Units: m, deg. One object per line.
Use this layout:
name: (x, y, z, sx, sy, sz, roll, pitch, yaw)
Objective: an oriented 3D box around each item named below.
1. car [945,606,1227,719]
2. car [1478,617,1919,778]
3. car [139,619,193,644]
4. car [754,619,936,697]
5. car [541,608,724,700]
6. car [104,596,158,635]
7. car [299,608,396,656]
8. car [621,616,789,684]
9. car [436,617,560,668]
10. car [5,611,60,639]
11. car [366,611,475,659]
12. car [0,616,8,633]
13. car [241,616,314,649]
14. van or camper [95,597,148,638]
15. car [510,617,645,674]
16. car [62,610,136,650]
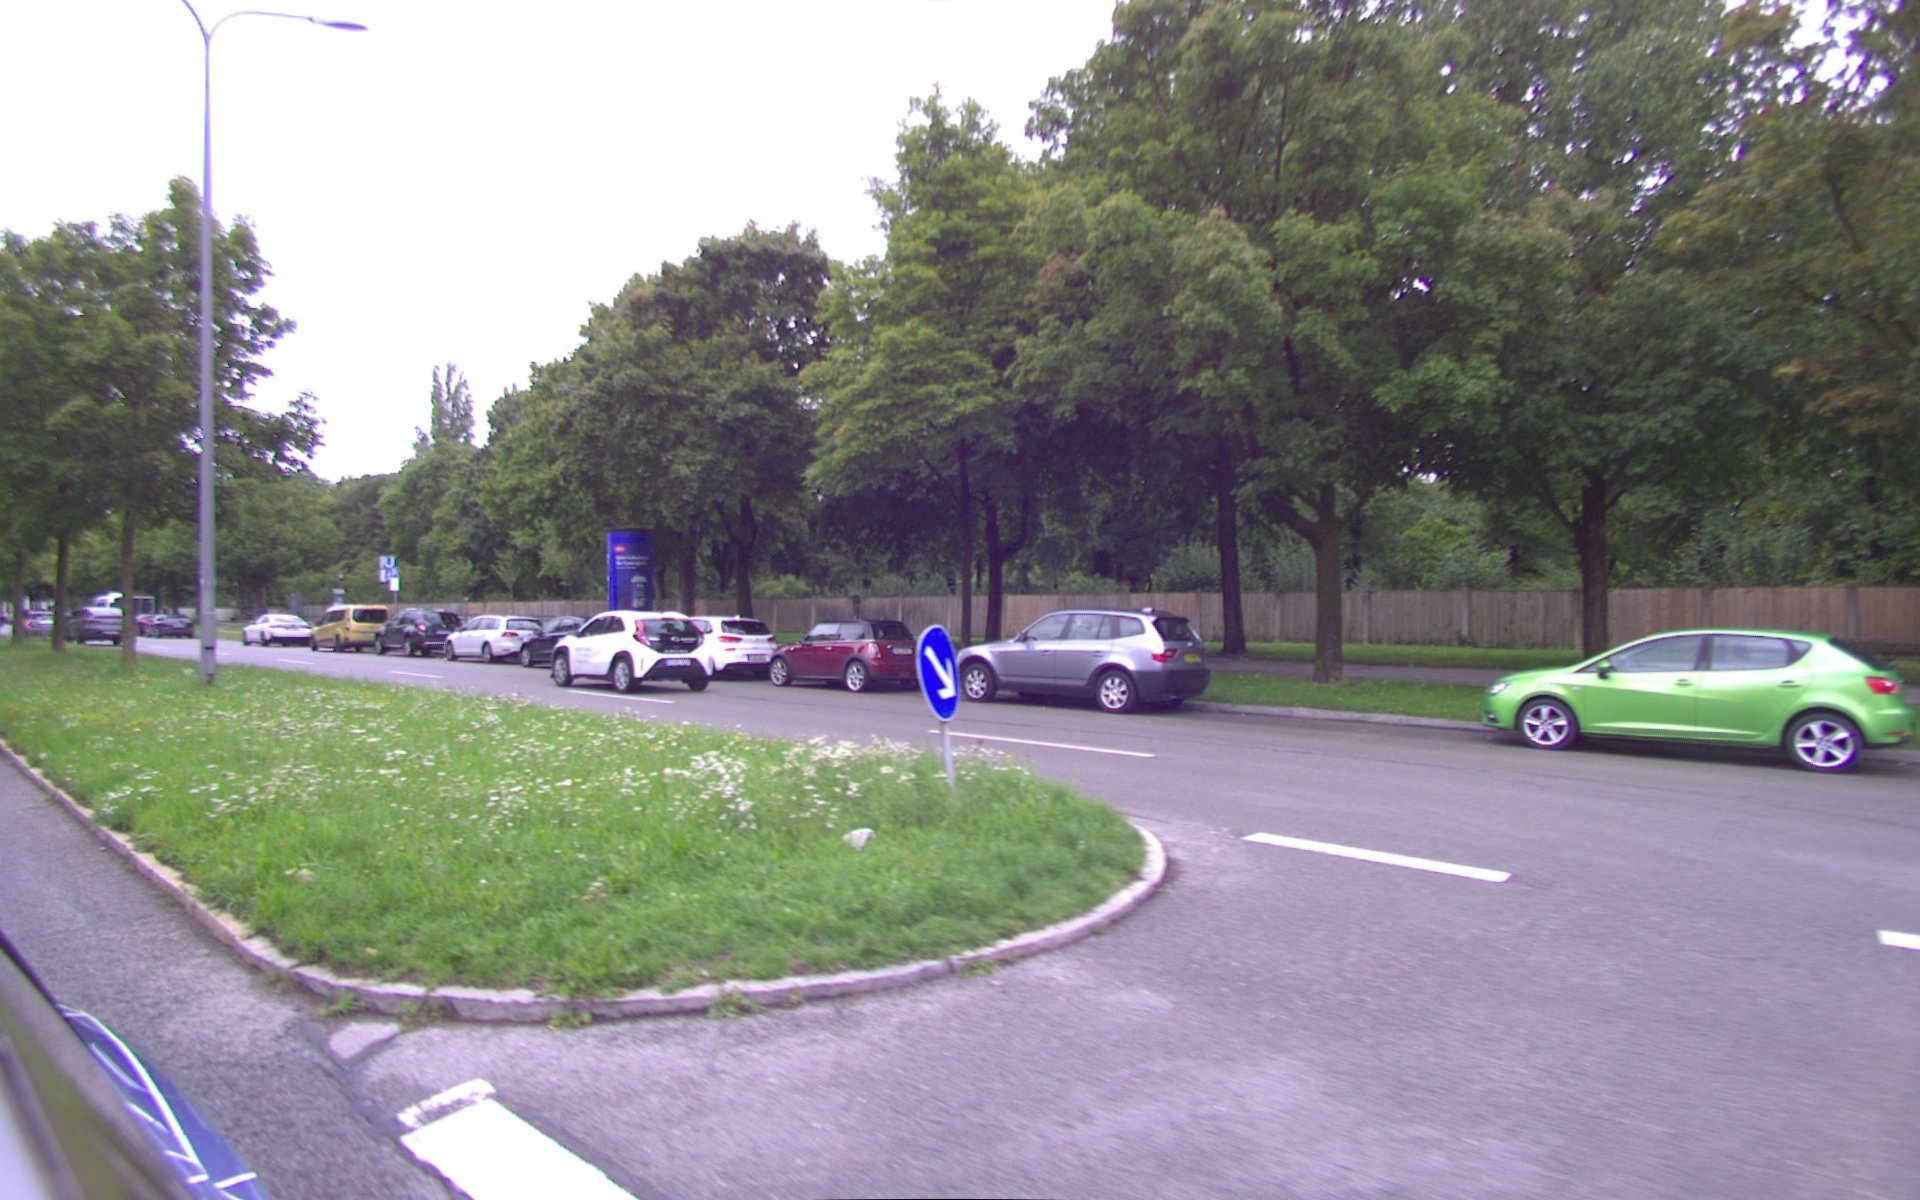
car: (2.001, 0.951, 16.898, 4.454, 1.643, 1.802, -1, -2, 41)
car: (8.195, 0.962, 11.322, 4.000, 1.511, 1.622, -1, -3, 43)
car: (-47.571, 1.864, 60.633, 4.038, 1.420, 1.695, -1, -2, 39)
car: (-2.400, 1.143, 20.641, 3.686, 1.433, 1.632, -1, -3, 42)
car: (-6.321, 0.950, 19.348, 3.722, 1.565, 1.801, -1, -1, 44)
car: (-56.703, 1.056, 69.174, 4.496, 2.611, 1.974, -1, -2, 39)
car: (-24.065, 1.232, 39.714, 4.530, 1.784, 1.838, -1, -2, 39)
car: (-6.143, 1.156, 24.126, 4.259, 1.488, 1.802, -1, -3, 42)
car: (-14.405, 1.278, 31.468, 4.297, 1.481, 1.803, -1, -2, 39)
car: (-48.255, 1.292, 52.638, 3.766, 1.393, 1.699, -1, -3, 42)
car: (-19.080, 1.211, 35.767, 4.038, 1.628, 1.982, -1, -2, 39)
car: (-96.458, 2.404, 100.824, 4.499, 1.682, 1.841, -1, -3, 41)
car: (-31.568, 1.466, 46.772, 4.038, 1.454, 1.695, -1, -2, 39)
van or camper: (-60.375, 1.259, 72.859, 4.927, 2.829, 1.974, -1, -2, 39)
car: (-10.548, 1.224, 27.841, 3.784, 1.457, 1.803, -1, -3, 39)
car: (-36.547, 1.249, 42.910, 4.500, 1.601, 1.802, -1, -1, 42)
